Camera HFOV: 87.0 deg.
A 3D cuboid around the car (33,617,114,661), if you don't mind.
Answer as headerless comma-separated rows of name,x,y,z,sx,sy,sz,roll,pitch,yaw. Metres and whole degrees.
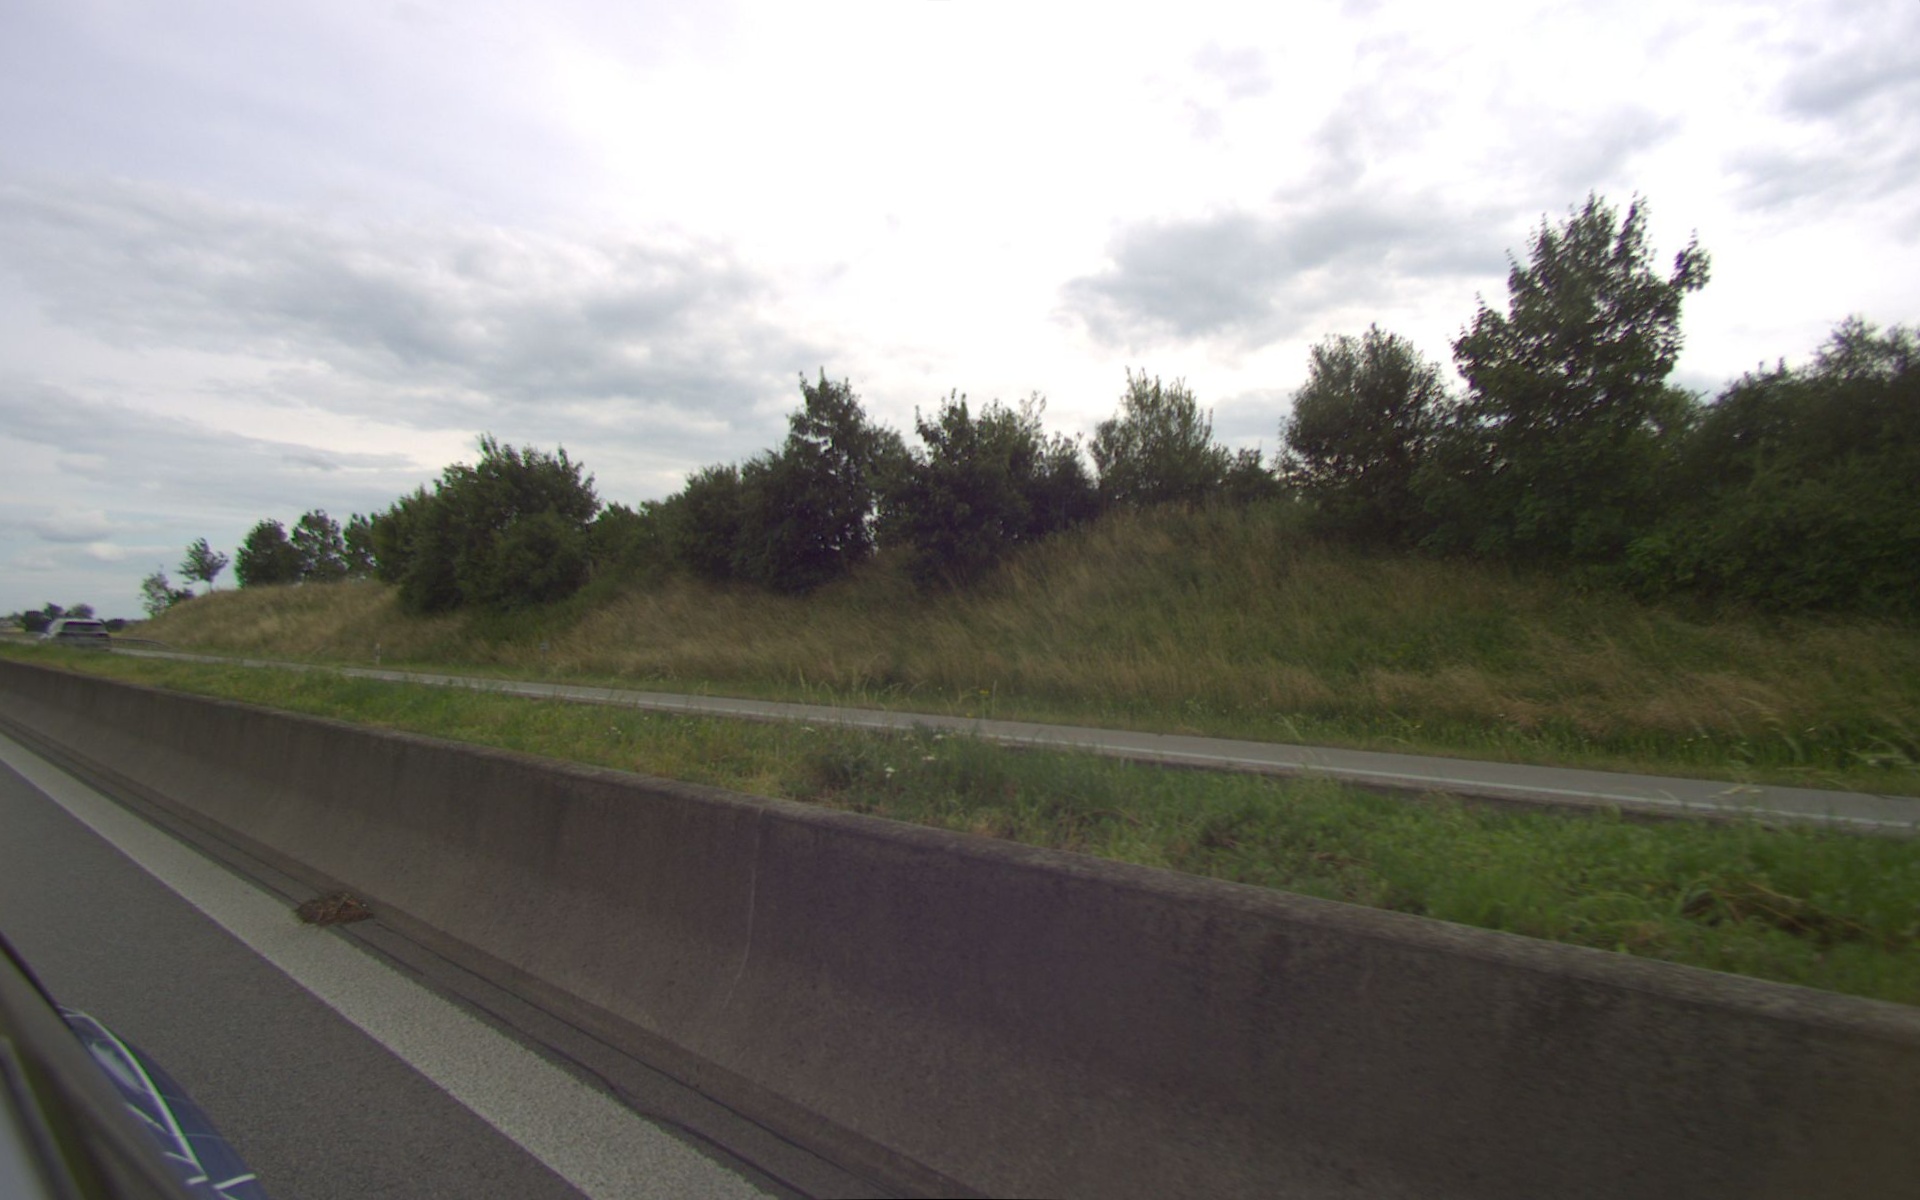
car,-36.761,1.607,41.925,4.595,1.707,1.899,-2,-3,41
